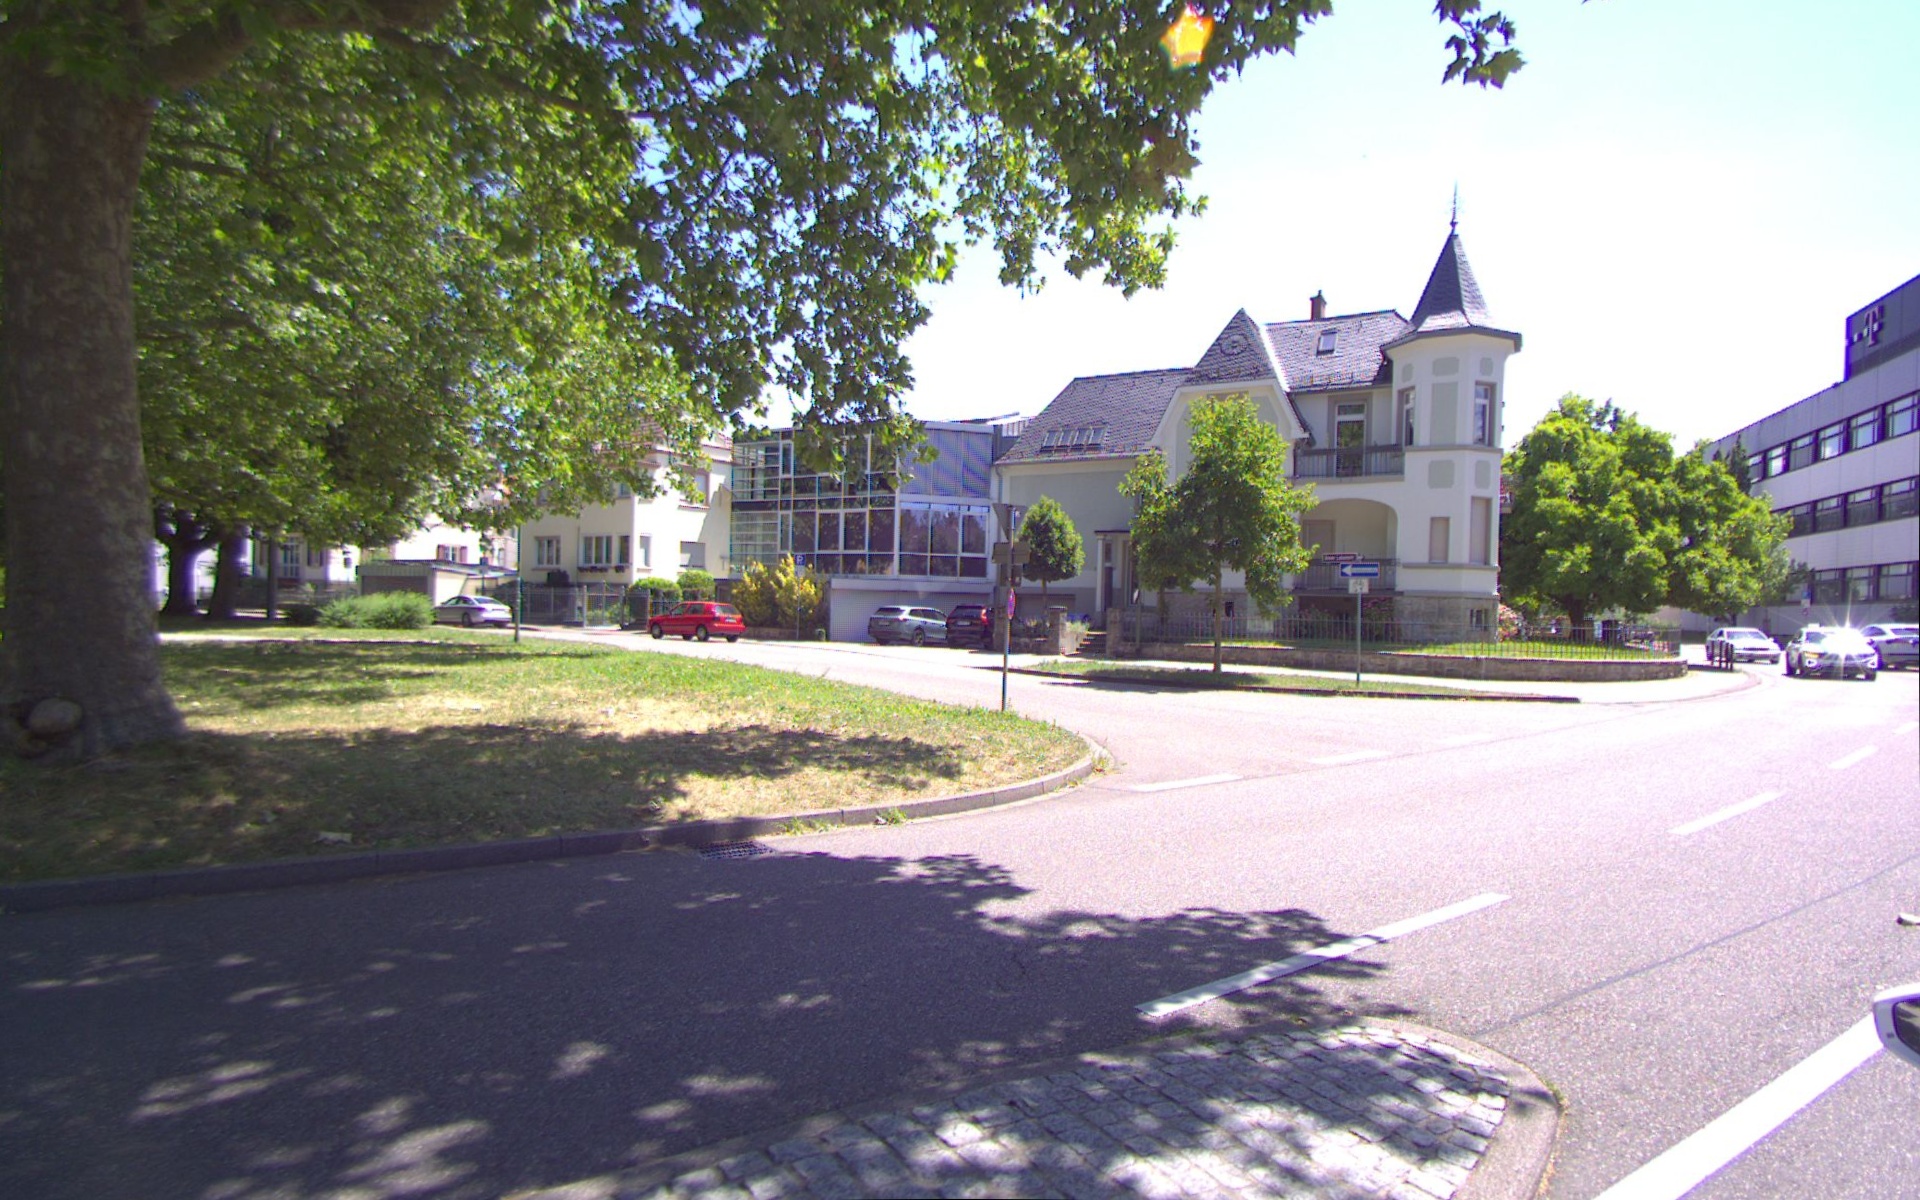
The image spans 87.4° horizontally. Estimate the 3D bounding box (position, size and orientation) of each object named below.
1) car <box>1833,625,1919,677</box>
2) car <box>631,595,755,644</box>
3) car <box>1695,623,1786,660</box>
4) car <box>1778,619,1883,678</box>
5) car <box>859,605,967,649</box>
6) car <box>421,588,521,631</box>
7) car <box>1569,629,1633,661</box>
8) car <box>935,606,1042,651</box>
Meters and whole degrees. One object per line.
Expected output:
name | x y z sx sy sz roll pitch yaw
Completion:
car | 33.831 1.808 36.482 1.906 1.635 4.468 -4 -2 24
car | -9.946 0.689 37.389 4.429 1.640 1.995 2 0 33
car | 33.008 1.730 42.619 1.729 1.454 4.304 0 -1 19
car | 27.365 1.459 31.712 1.846 1.645 4.293 0 0 32
car | -1.689 0.961 37.129 1.851 1.454 3.985 3 1 37
car | -22.315 0.429 45.798 4.426 1.802 1.996 2 0 31
car | 34.470 2.372 54.153 1.894 1.455 4.658 4 1 21
car | 1.085 1.014 36.503 1.967 1.445 3.987 3 1 35
